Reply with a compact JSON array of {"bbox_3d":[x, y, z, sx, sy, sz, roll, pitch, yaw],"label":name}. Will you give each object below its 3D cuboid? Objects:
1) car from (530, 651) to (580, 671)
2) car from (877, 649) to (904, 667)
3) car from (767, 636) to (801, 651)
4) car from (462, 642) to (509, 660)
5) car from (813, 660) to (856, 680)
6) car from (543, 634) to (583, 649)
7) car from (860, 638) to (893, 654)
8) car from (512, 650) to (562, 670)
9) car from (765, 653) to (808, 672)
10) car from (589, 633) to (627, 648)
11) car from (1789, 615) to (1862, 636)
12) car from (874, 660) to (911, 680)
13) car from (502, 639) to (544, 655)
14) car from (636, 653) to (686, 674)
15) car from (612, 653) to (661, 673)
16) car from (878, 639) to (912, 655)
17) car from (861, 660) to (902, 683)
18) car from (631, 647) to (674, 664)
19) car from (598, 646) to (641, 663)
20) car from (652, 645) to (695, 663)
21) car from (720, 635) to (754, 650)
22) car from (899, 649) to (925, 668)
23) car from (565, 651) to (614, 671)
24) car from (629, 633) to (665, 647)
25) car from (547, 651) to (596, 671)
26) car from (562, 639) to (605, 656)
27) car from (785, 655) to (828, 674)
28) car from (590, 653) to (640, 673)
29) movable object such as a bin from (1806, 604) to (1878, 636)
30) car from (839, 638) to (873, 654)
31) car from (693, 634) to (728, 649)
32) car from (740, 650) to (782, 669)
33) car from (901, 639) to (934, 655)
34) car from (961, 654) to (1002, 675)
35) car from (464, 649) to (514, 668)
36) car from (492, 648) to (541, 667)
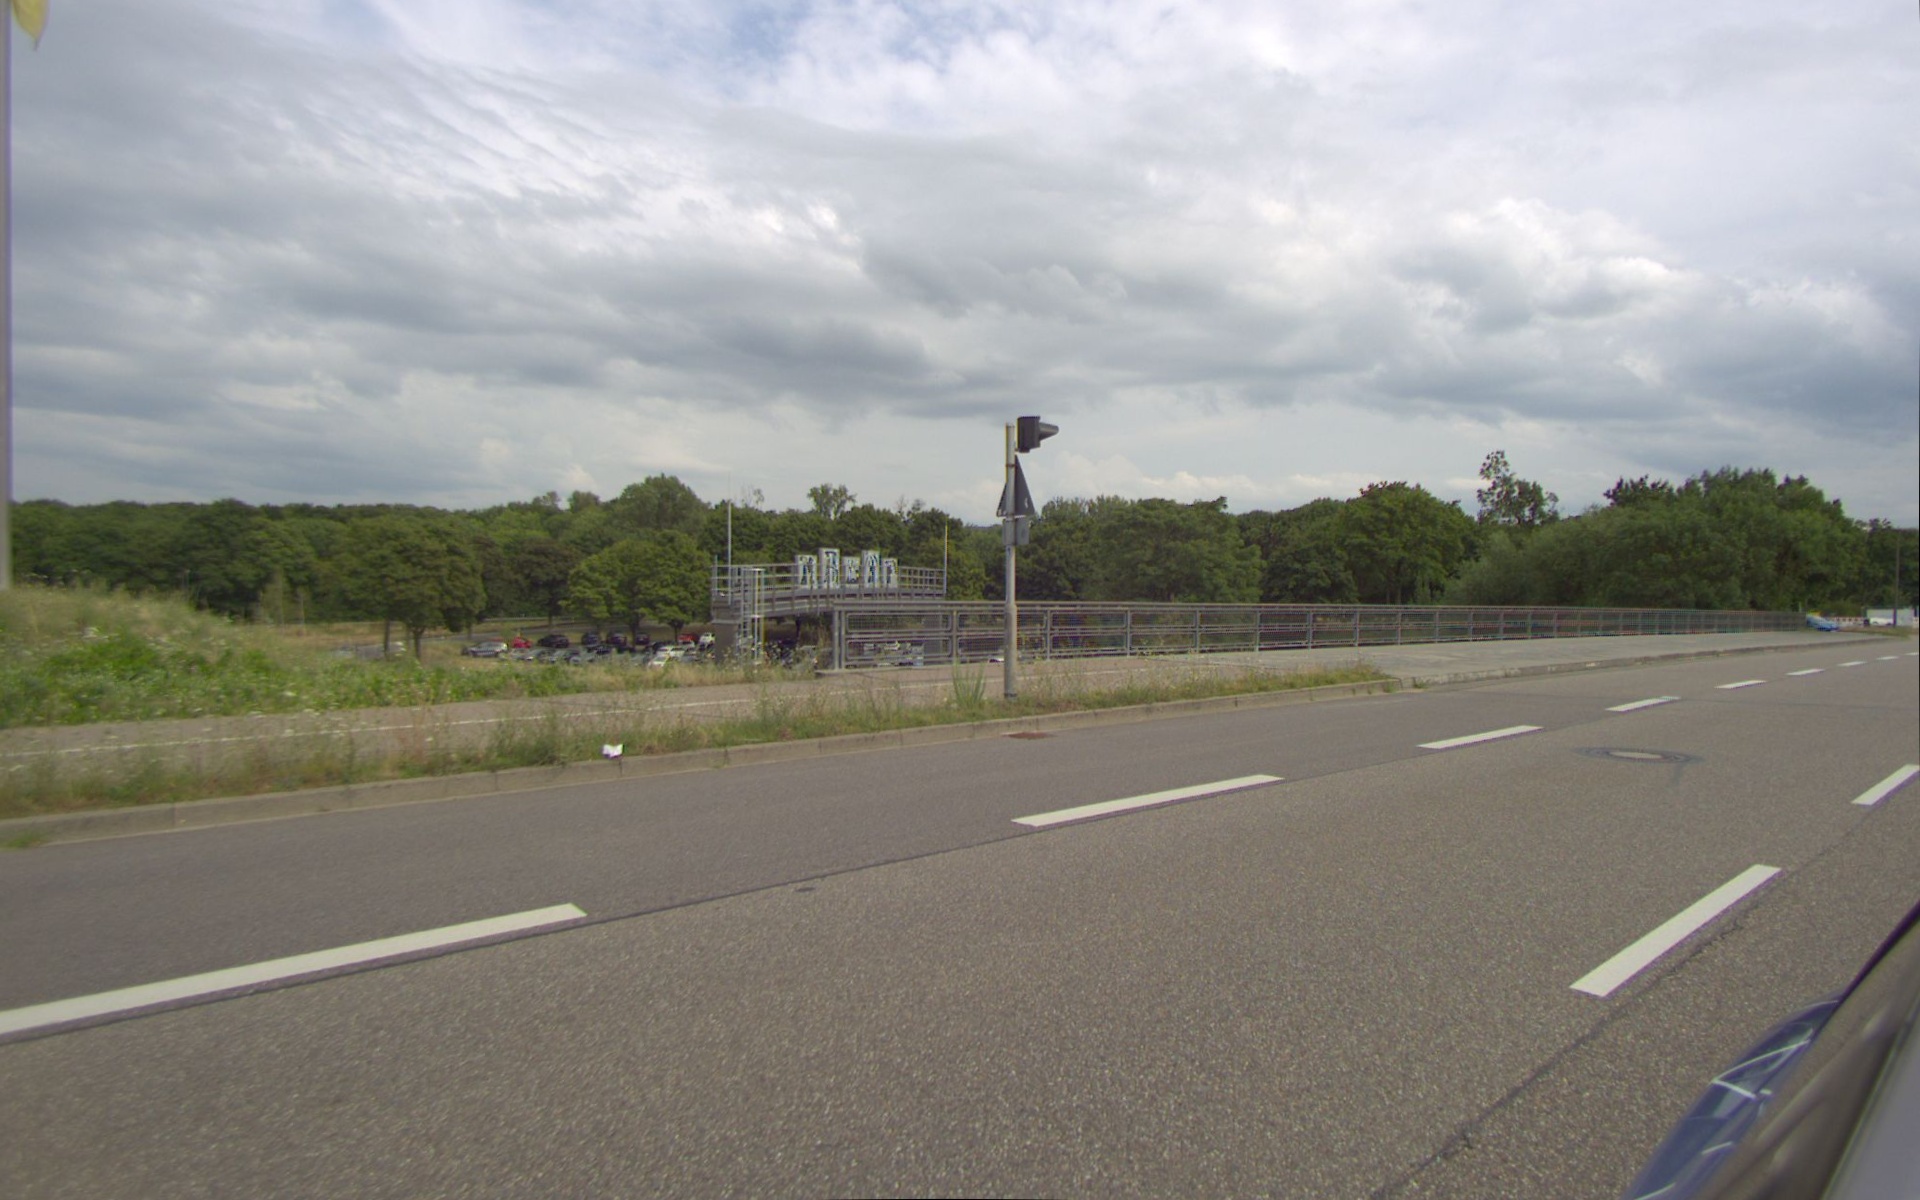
[{"bbox_3d":[-37.701,5.634,94.276,1.982,1.594,3.959,0,-1,29],"label":"car"},{"bbox_3d":[-6.842,5.665,99.487,1.965,1.594,3.993,0,0,6],"label":"car"},{"bbox_3d":[-20.665,5.132,118.787,1.981,1.594,3.961,0,-1,28],"label":"car"},{"bbox_3d":[-48.120,5.174,102.774,1.982,1.594,3.959,0,-1,29],"label":"car"},{"bbox_3d":[-11.554,6.413,93.175,1.982,1.594,3.959,0,-1,29],"label":"car"},{"bbox_3d":[-45.542,4.769,116.290,1.982,1.594,3.959,0,-1,29],"label":"car"},{"bbox_3d":[-9.372,5.175,113.983,1.981,1.594,3.961,0,-1,28],"label":"car"},{"bbox_3d":[-39.729,5.625,95.119,1.982,1.594,3.959,0,-1,29],"label":"car"},{"bbox_3d":[-16.475,5.894,96.172,1.982,1.594,3.959,0,-1,29],"label":"car"},{"bbox_3d":[-41.686,4.803,119.811,1.982,1.594,3.959,0,-1,29],"label":"car"},{"bbox_3d":[67.019,1.973,78.454,1.840,1.537,4.007,0,0,-12],"label":"car"},{"bbox_3d":[-6.251,6.454,93.497,1.959,1.594,4.005,1,-1,-27],"label":"car"},{"bbox_3d":[-48.134,5.167,111.546,1.982,1.594,3.959,0,-1,29],"label":"car"},{"bbox_3d":[-26.387,5.588,89.427,1.982,1.594,3.959,0,-1,29],"label":"car"},{"bbox_3d":[-28.757,5.576,90.042,1.982,1.594,3.959,0,-1,29],"label":"car"},{"bbox_3d":[-7.255,5.184,113.016,1.981,1.594,3.961,0,-1,28],"label":"car"},{"bbox_3d":[-6.416,5.785,82.797,1.959,1.594,4.005,1,-1,-27],"label":"car"},{"bbox_3d":[-31.314,5.638,103.170,1.982,1.594,3.959,0,-1,29],"label":"car"},{"bbox_3d":[-35.348,5.623,105.162,1.982,1.594,3.959,0,-1,29],"label":"car"},{"bbox_3d":[-28.934,5.450,102.200,1.982,1.594,3.959,0,-1,29],"label":"car"},{"bbox_3d":[-26.819,5.104,121.701,1.981,1.594,3.961,0,-1,28],"label":"car"},{"bbox_3d":[-4.685,5.721,99.174,1.965,1.594,3.993,0,0,6],"label":"car"},{"bbox_3d":[-33.792,5.554,92.379,1.982,1.594,3.959,0,-1,29],"label":"car"},{"bbox_3d":[-37.782,4.834,122.136,1.982,1.594,3.959,0,-1,29],"label":"car"},{"bbox_3d":[-35.762,5.642,93.265,1.982,1.594,3.959,0,-1,29],"label":"car"},{"bbox_3d":[-39.912,5.000,107.443,1.982,1.594,3.959,0,-1,29],"label":"car"},{"bbox_3d":[-14.395,6.043,95.095,1.982,1.594,3.959,0,-1,29],"label":"car"},{"bbox_3d":[-31.028,5.657,91.052,1.982,1.594,3.959,0,-1,29],"label":"car"},{"bbox_3d":[78.901,1.769,90.606,2.062,2.723,4.515,1,0,-35],"label":"movable object such as a bin"},{"bbox_3d":[-11.752,5.167,114.750,1.981,1.594,3.961,0,-1,28],"label":"car"},{"bbox_3d":[-30.565,5.089,124.126,1.981,1.594,3.961,0,-1,28],"label":"car"},{"bbox_3d":[-19.137,5.701,97.464,1.982,1.594,3.959,0,-1,29],"label":"car"},{"bbox_3d":[-4.717,5.201,112.521,1.981,1.594,3.961,0,-1,28],"label":"car"},{"bbox_3d":[1.871,5.656,89.110,1.959,1.594,4.005,1,-1,-27],"label":"car"},{"bbox_3d":[-45.214,5.600,97.193,1.982,1.594,3.959,0,-1,29],"label":"car"},{"bbox_3d":[-42.223,5.481,96.424,1.982,1.594,3.959,0,-1,29],"label":"car"}]
